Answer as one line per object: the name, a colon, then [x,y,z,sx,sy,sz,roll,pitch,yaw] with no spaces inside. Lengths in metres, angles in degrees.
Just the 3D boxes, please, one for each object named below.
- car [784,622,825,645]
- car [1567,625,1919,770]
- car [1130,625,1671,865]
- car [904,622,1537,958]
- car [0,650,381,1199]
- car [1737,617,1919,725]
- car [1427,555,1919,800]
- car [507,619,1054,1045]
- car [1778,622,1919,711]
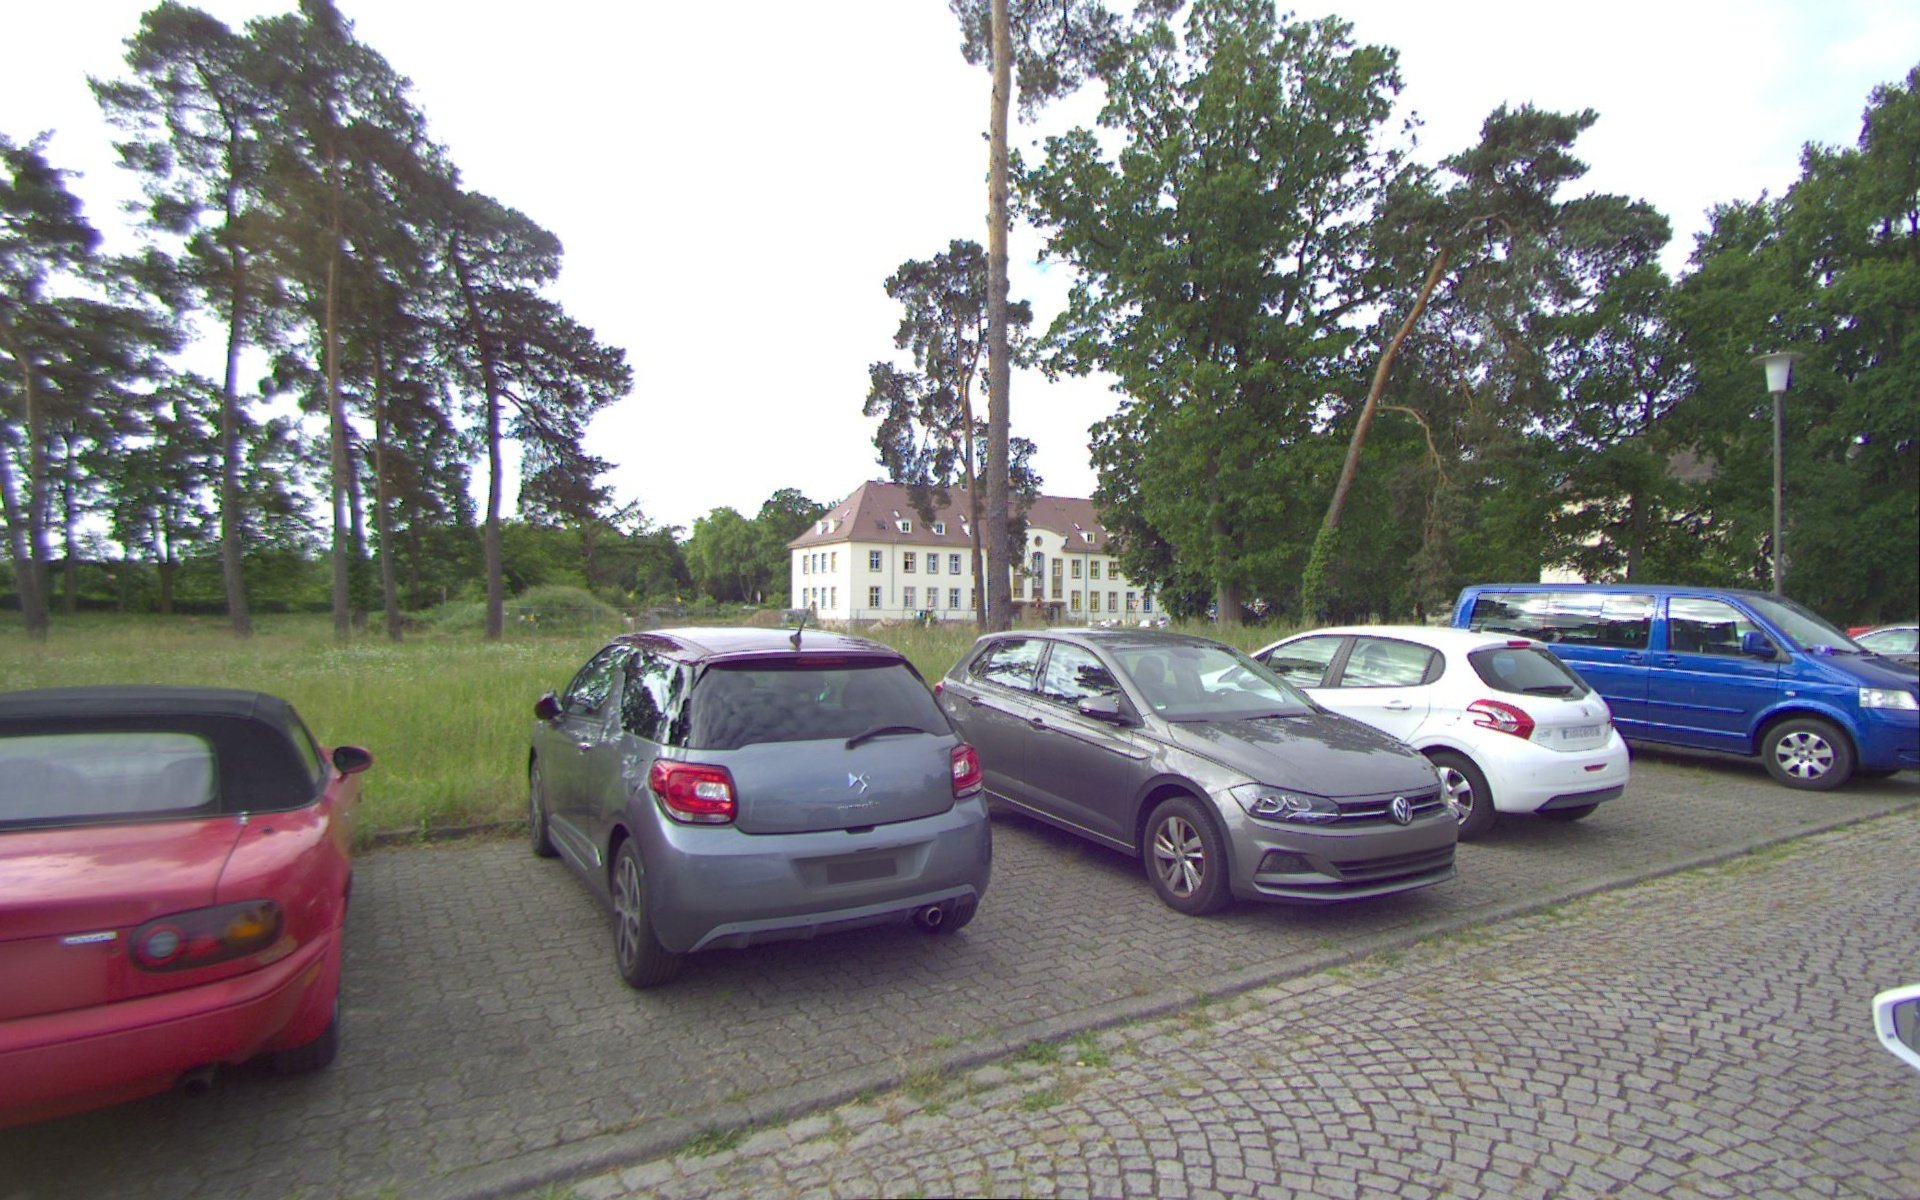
car: [-15.828,3.341,102.007,1.983,2.229,4.982,1,-1,-39]
car: [10.256,1.095,12.650,1.763,1.530,4.141,1,-1,-33]
car: [3.501,0.999,8.761,1.824,1.517,4.048,1,-1,-30]
car: [1.365,0.916,6.867,1.842,1.511,4.147,1,-1,-30]
car: [-3.428,0.923,4.125,1.810,1.283,4.146,1,-1,-30]
car: [15.384,1.108,16.192,1.966,1.644,4.140,1,-1,-34]
car: [8.072,0.717,11.319,2.092,2.150,4.756,1,-1,-32]
car: [-1.402,0.868,5.850,1.824,1.502,4.146,1,-1,-30]
car: [17.496,1.173,17.937,1.887,1.530,4.142,1,-1,-33]
